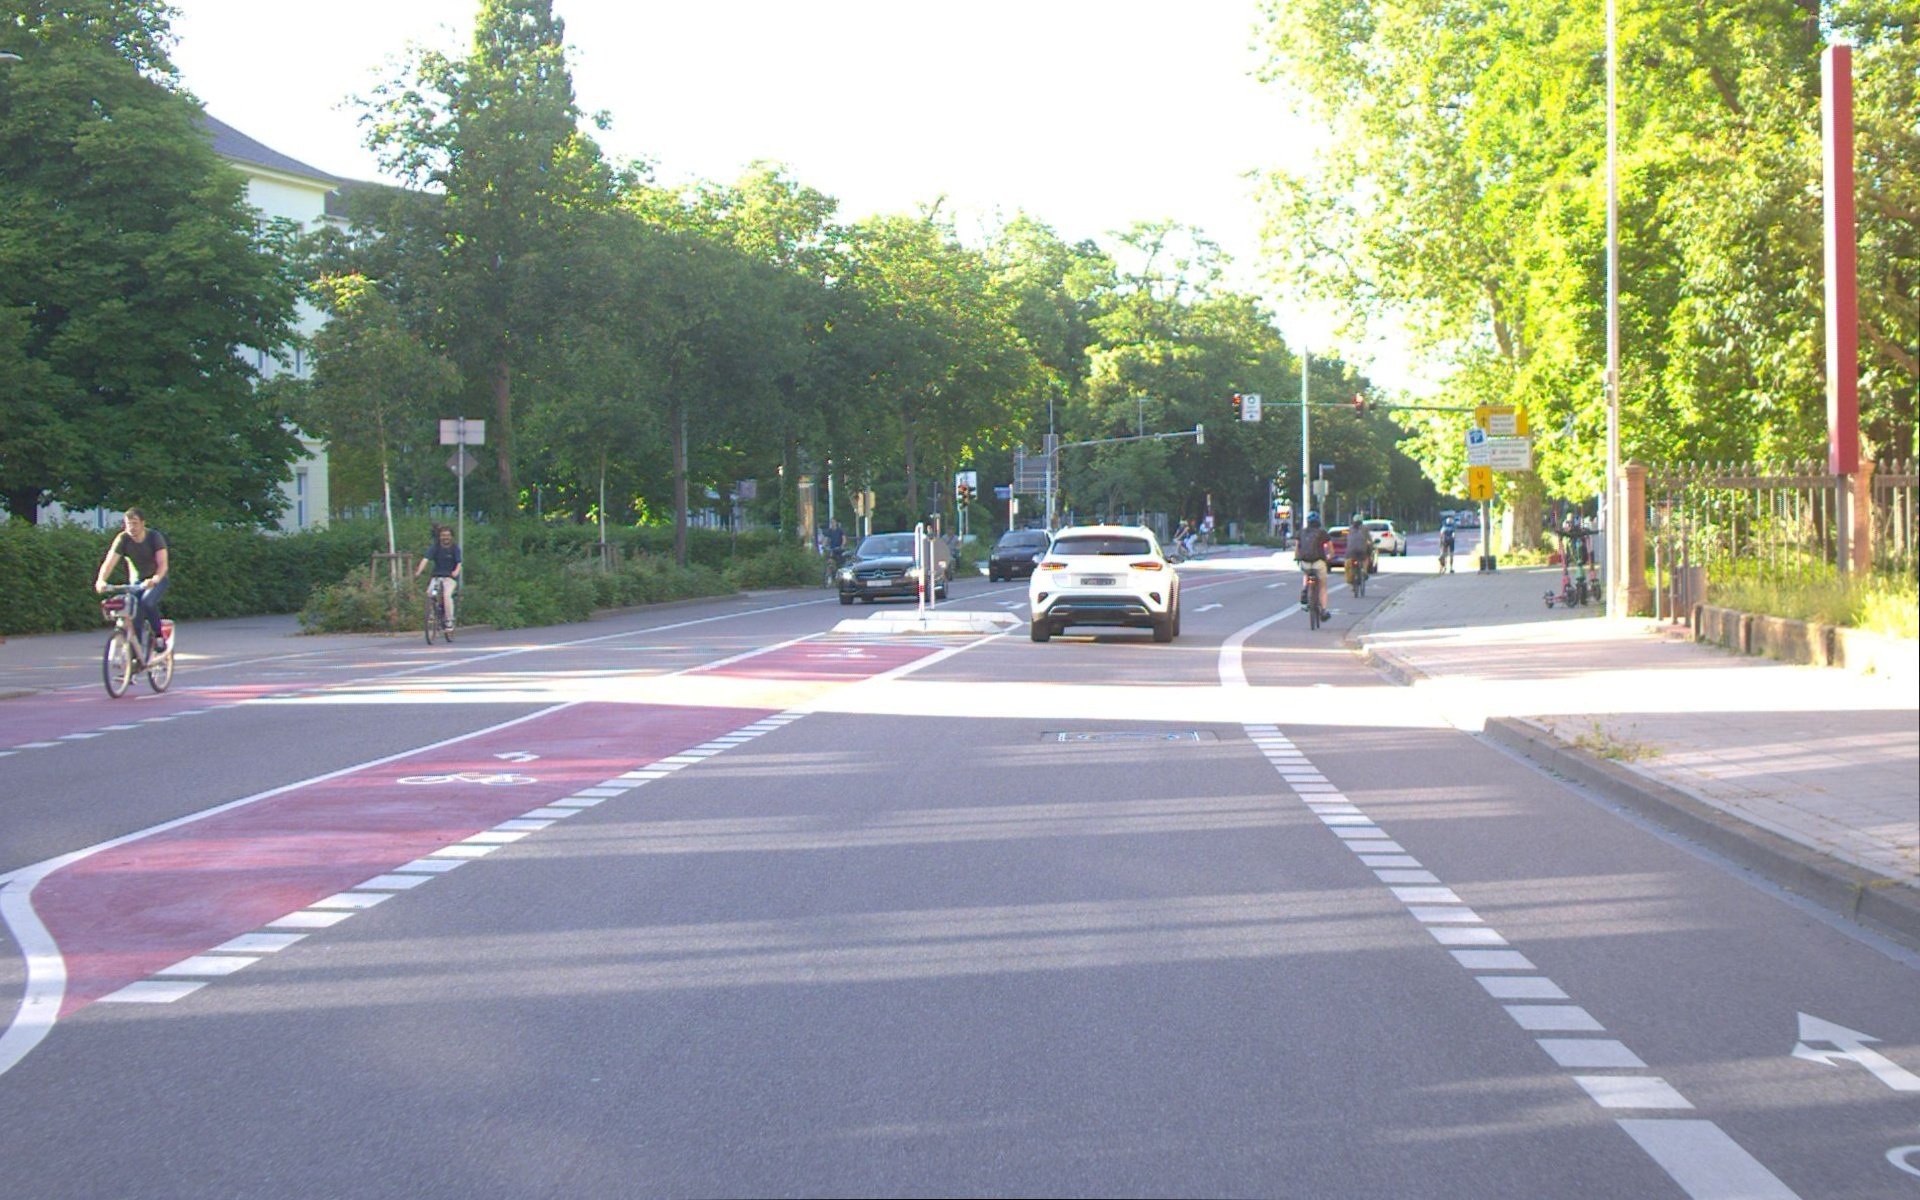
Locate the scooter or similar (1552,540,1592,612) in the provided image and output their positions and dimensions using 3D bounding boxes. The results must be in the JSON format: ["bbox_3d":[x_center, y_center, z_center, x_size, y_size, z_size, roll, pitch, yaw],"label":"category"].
[{"bbox_3d":[9.738,-0.385,54.702,0.480,1.118,1.336,-2,1,5],"label":"scooter or similar"}]

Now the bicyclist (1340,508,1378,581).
[{"bbox_3d":[8.438,-1.165,72.629,0.747,1.532,0.969,0,1,9],"label":"bicyclist"}]

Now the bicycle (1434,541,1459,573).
[{"bbox_3d":[15.569,-1.362,110.005,0.753,1.022,1.869,0,0,9],"label":"bicycle"}]

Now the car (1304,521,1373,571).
[{"bbox_3d":[12.010,-1.721,108.808,1.929,1.528,3.999,-1,1,9],"label":"car"}]

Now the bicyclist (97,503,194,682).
[{"bbox_3d":[-8.038,-0.082,33.954,0.635,1.704,0.738,-4,1,4],"label":"bicyclist"}]

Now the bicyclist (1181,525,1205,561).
[{"bbox_3d":[9.895,-2.435,146.071,0.923,1.503,0.506,-1,1,17],"label":"bicyclist"}]

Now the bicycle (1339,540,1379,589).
[{"bbox_3d":[8.431,-0.754,72.590,0.753,1.022,1.869,0,0,9],"label":"bicycle"}]

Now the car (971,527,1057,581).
[{"bbox_3d":[1.540,-1.303,96.122,1.759,1.454,3.999,-1,1,10],"label":"car"}]

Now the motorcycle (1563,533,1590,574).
[{"bbox_3d":[18.264,-1.380,101.866,0.662,1.163,2.326,-3,1,9],"label":"motorcycle"}]

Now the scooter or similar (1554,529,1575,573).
[{"bbox_3d":[19.086,-1.559,108.596,0.566,1.378,1.856,-1,1,8],"label":"scooter or similar"}]

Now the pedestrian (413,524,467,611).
[{"bbox_3d":[-11.119,-0.699,73.545,0.856,1.845,1.001,-1,1,8],"label":"pedestrian"}]

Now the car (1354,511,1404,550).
[{"bbox_3d":[17.174,-2.853,140.838,1.737,1.541,3.998,-1,1,11],"label":"car"}]

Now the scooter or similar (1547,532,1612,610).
[{"bbox_3d":[10.187,-0.480,56.560,0.547,1.238,1.558,-2,1,-8],"label":"scooter or similar"}]

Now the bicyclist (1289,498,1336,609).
[{"bbox_3d":[5.193,-0.687,50.609,0.636,1.609,1.283,0,1,8],"label":"bicyclist"}]

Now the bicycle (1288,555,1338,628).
[{"bbox_3d":[5.199,-0.134,50.616,0.643,1.021,2.212,1,1,8],"label":"bicycle"}]

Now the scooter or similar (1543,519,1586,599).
[{"bbox_3d":[9.424,-0.643,53.616,0.296,1.235,1.161,-2,1,-7],"label":"scooter or similar"}]

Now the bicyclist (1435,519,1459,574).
[{"bbox_3d":[15.590,-1.714,109.993,0.750,1.744,0.843,0,1,9],"label":"bicyclist"}]

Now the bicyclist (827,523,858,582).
[{"bbox_3d":[-3.132,-1.261,91.551,0.629,1.517,0.724,-4,1,7],"label":"bicyclist"}]

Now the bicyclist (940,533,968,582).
[{"bbox_3d":[-0.177,-1.266,101.919,0.646,1.414,0.970,-4,1,7],"label":"bicyclist"}]

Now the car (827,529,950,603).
[{"bbox_3d":[-1.411,-0.710,70.055,1.812,1.415,4.554,-1,1,8],"label":"car"}]

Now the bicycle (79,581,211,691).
[{"bbox_3d":[-8.041,0.338,34.003,0.646,0.992,2.109,-2,1,3],"label":"bicycle"}]

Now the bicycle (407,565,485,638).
[{"bbox_3d":[-7.439,0.012,49.813,0.651,0.992,2.109,-2,1,3],"label":"bicycle"}]

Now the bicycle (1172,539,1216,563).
[{"bbox_3d":[9.934,-2.076,146.069,1.767,0.986,0.512,-1,1,17],"label":"bicycle"}]

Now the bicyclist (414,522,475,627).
[{"bbox_3d":[-7.470,-0.374,49.806,0.656,1.480,0.665,-4,1,4],"label":"bicyclist"}]

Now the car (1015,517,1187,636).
[{"bbox_3d":[1.902,-0.333,45.218,1.994,1.448,3.999,-1,1,6],"label":"car"}]

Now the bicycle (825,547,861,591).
[{"bbox_3d":[-3.107,-0.834,91.498,0.597,1.117,2.026,-4,1,7],"label":"bicycle"}]

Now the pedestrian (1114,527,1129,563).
[{"bbox_3d":[8.584,-2.948,183.130,0.651,1.881,0.662,-1,1,12],"label":"pedestrian"}]
